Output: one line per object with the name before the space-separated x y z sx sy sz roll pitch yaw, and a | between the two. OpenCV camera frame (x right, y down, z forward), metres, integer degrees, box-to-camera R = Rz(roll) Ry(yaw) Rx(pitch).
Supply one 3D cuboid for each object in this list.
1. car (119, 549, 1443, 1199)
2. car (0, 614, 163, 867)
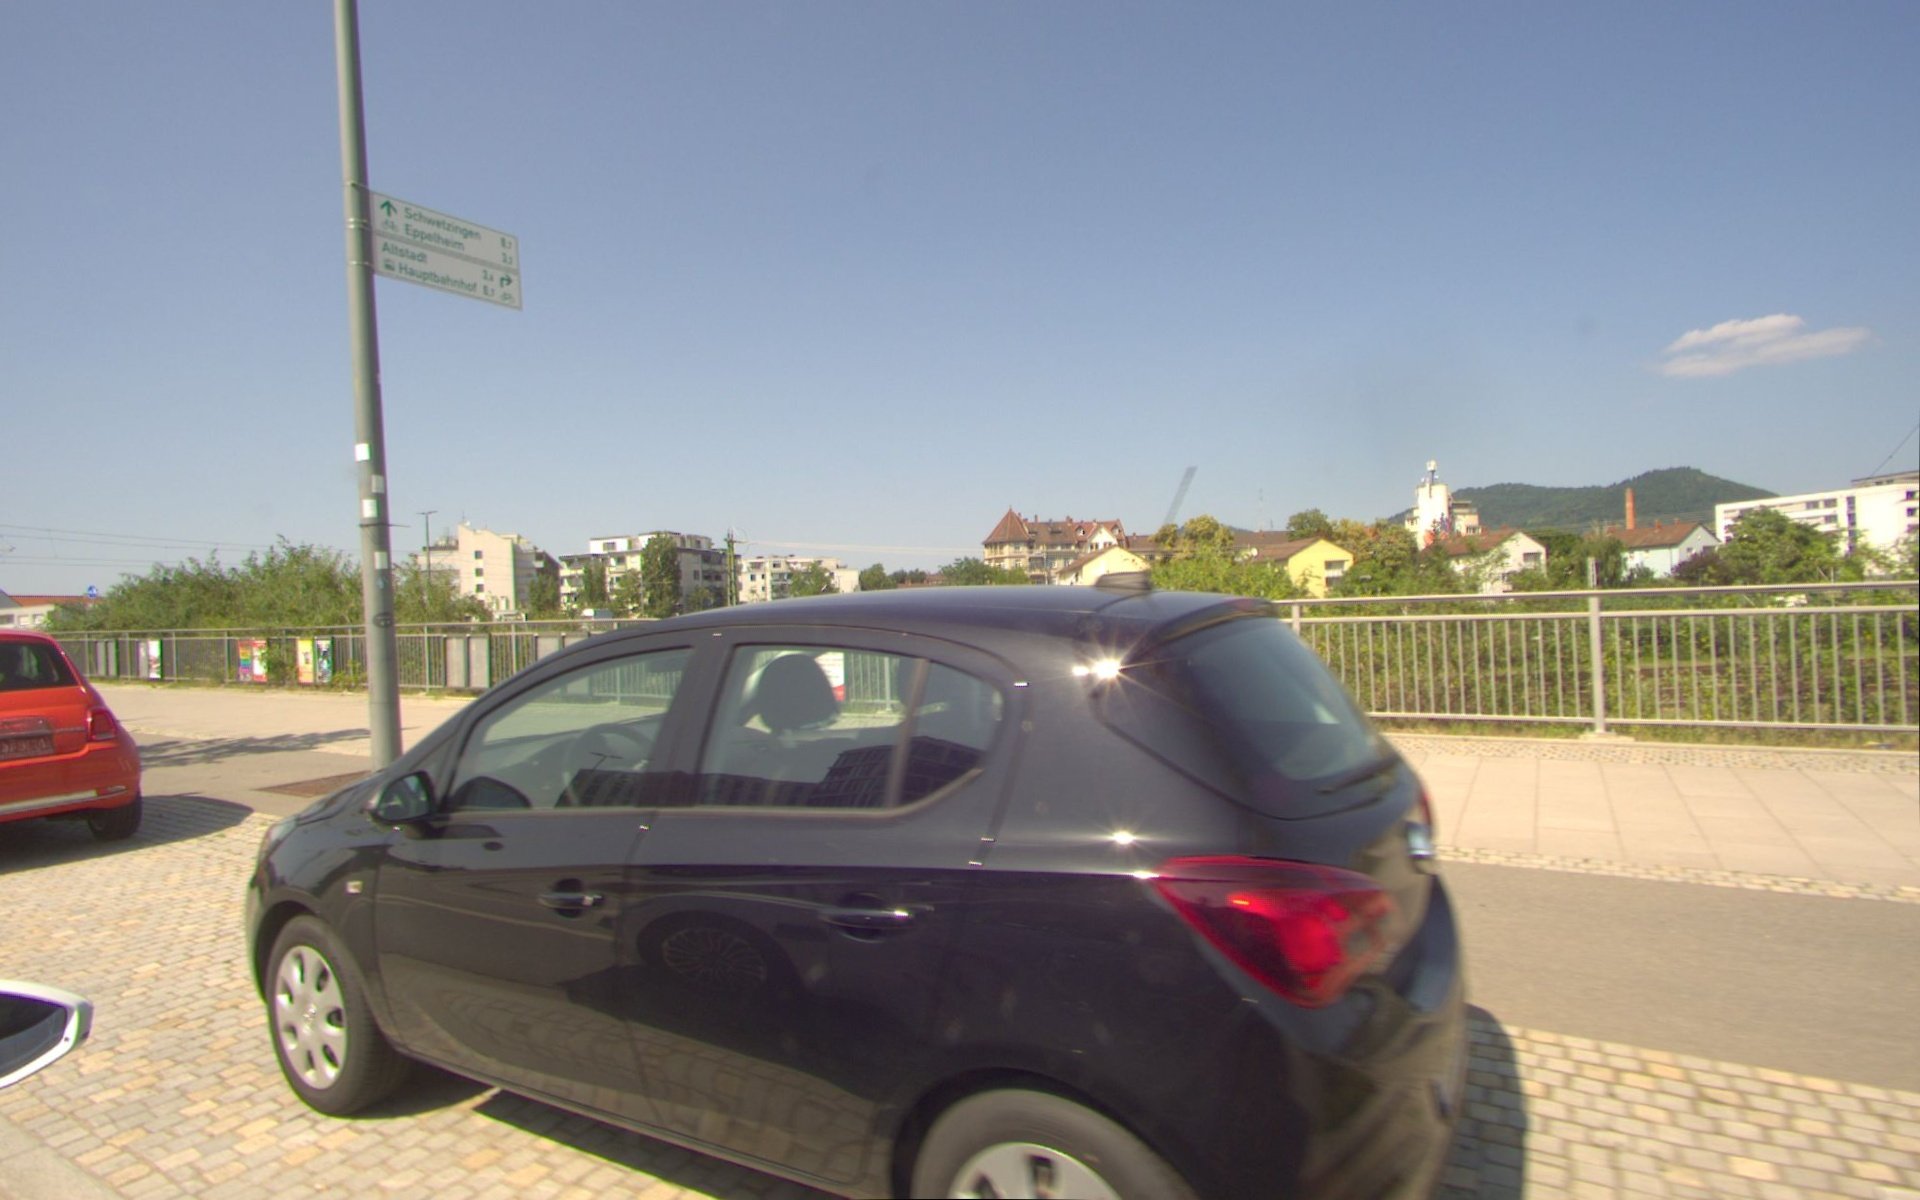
car | -0.768 0.703 3.129 3.943 1.445 1.657 -2 0 32
car | -7.271 0.917 7.058 3.306 1.517 1.605 -2 1 34
